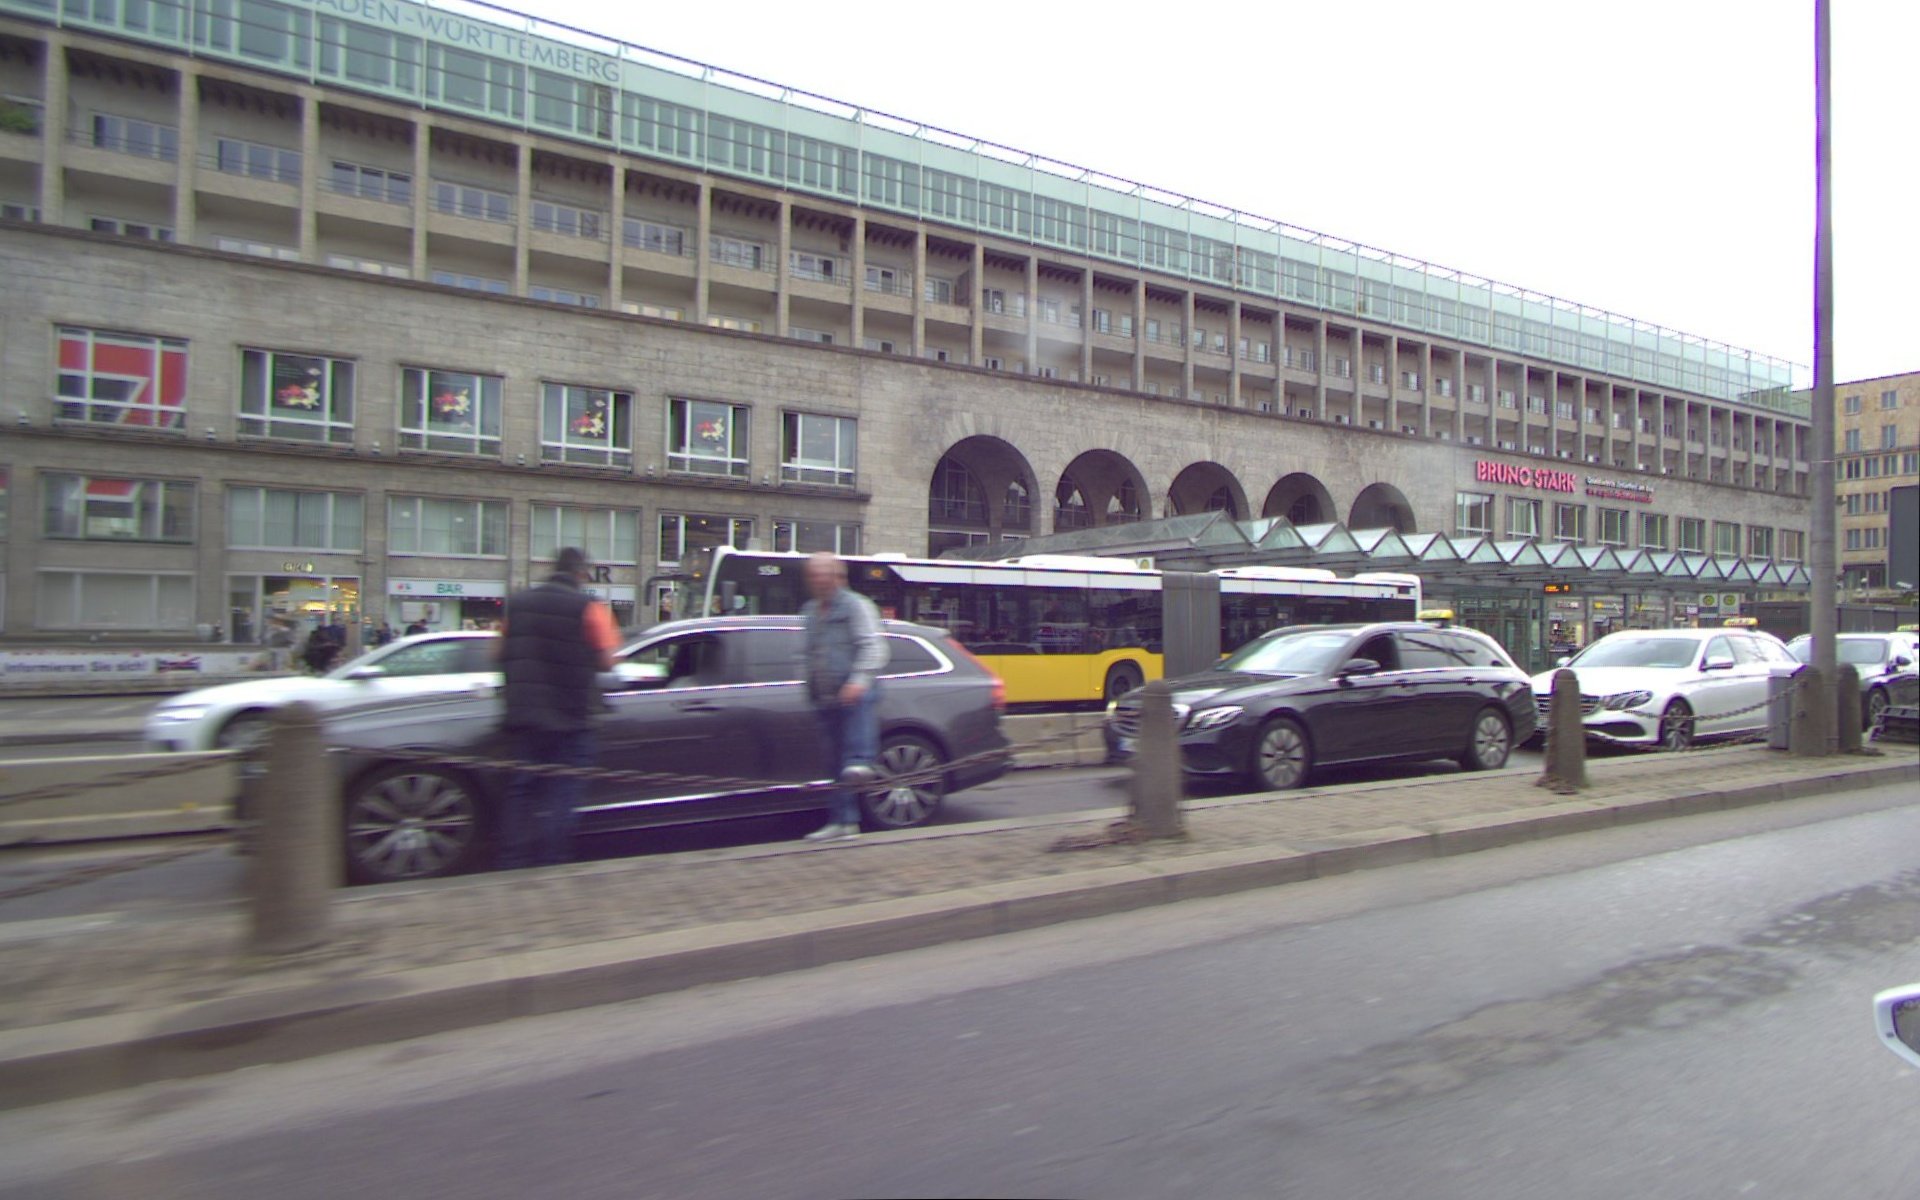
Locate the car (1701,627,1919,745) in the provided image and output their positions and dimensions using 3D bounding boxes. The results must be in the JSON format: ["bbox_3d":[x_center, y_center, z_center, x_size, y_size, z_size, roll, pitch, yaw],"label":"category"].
[{"bbox_3d":[13.980,1.271,15.791,4.993,1.597,1.921,1,-3,-30],"label":"car"}]

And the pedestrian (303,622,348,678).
[{"bbox_3d":[-13.145,1.026,20.815,0.691,1.124,0.622,1,0,-42],"label":"pedestrian"}]

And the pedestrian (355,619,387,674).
[{"bbox_3d":[-18.674,1.463,31.860,0.743,1.739,0.622,2,-2,-42],"label":"pedestrian"}]

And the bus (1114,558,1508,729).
[{"bbox_3d":[8.796,0.992,24.446,10.444,3.505,2.865,1,-1,-29],"label":"bus"}]

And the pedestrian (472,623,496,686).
[{"bbox_3d":[-13.221,1.508,27.901,0.548,1.739,0.489,1,-1,-27],"label":"pedestrian"}]

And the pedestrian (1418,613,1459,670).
[{"bbox_3d":[15.649,1.343,32.872,1.013,1.832,0.737,0,0,-27],"label":"pedestrian"}]

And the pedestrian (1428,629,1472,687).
[{"bbox_3d":[14.901,1.744,30.539,1.013,1.689,0.737,0,0,-27],"label":"pedestrian"}]

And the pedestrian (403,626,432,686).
[{"bbox_3d":[-14.506,1.497,26.866,0.632,1.587,0.491,1,-1,-28],"label":"pedestrian"}]

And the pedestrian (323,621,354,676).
[{"bbox_3d":[-20.017,1.566,32.363,0.743,1.739,0.622,2,-2,-42],"label":"pedestrian"}]

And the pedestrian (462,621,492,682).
[{"bbox_3d":[-14.024,1.483,29.148,0.686,1.739,0.464,1,-1,-36],"label":"pedestrian"}]

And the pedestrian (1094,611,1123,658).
[{"bbox_3d":[5.045,1.163,34.053,0.747,1.588,0.628,0,0,-27],"label":"pedestrian"}]

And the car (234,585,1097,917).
[{"bbox_3d":[-1.704,0.826,7.000,5.198,1.597,1.921,1,-3,-30],"label":"car"}]

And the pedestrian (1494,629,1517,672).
[{"bbox_3d":[22.545,2.078,41.513,0.596,1.748,0.599,0,0,-28],"label":"pedestrian"}]

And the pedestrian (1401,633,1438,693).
[{"bbox_3d":[13.743,1.869,30.042,0.845,1.748,0.621,0,0,-28],"label":"pedestrian"}]

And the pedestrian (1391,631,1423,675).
[{"bbox_3d":[17.465,2.060,39.239,0.882,1.677,0.754,0,0,-27],"label":"pedestrian"}]

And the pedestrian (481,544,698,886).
[{"bbox_3d":[-1.974,0.548,5.330,0.984,1.628,0.719,0,0,-29],"label":"pedestrian"}]

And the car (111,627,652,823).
[{"bbox_3d":[-5.882,1.188,10.811,4.626,1.712,1.921,1,-3,-30],"label":"car"}]

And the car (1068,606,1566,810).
[{"bbox_3d":[3.643,0.943,9.976,4.953,1.597,1.921,1,-3,-30],"label":"car"}]

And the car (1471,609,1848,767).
[{"bbox_3d":[9.051,1.043,12.891,5.131,1.681,1.967,1,-3,-30],"label":"car"}]

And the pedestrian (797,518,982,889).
[{"bbox_3d":[-0.411,0.515,5.476,0.609,1.792,1.046,1,-1,-29],"label":"pedestrian"}]

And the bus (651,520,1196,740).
[{"bbox_3d":[-0.356,0.563,19.466,10.444,3.421,2.865,1,-1,-29],"label":"bus"}]

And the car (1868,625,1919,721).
[{"bbox_3d":[19.411,1.351,18.986,4.828,1.721,1.921,1,-3,-30],"label":"car"}]
